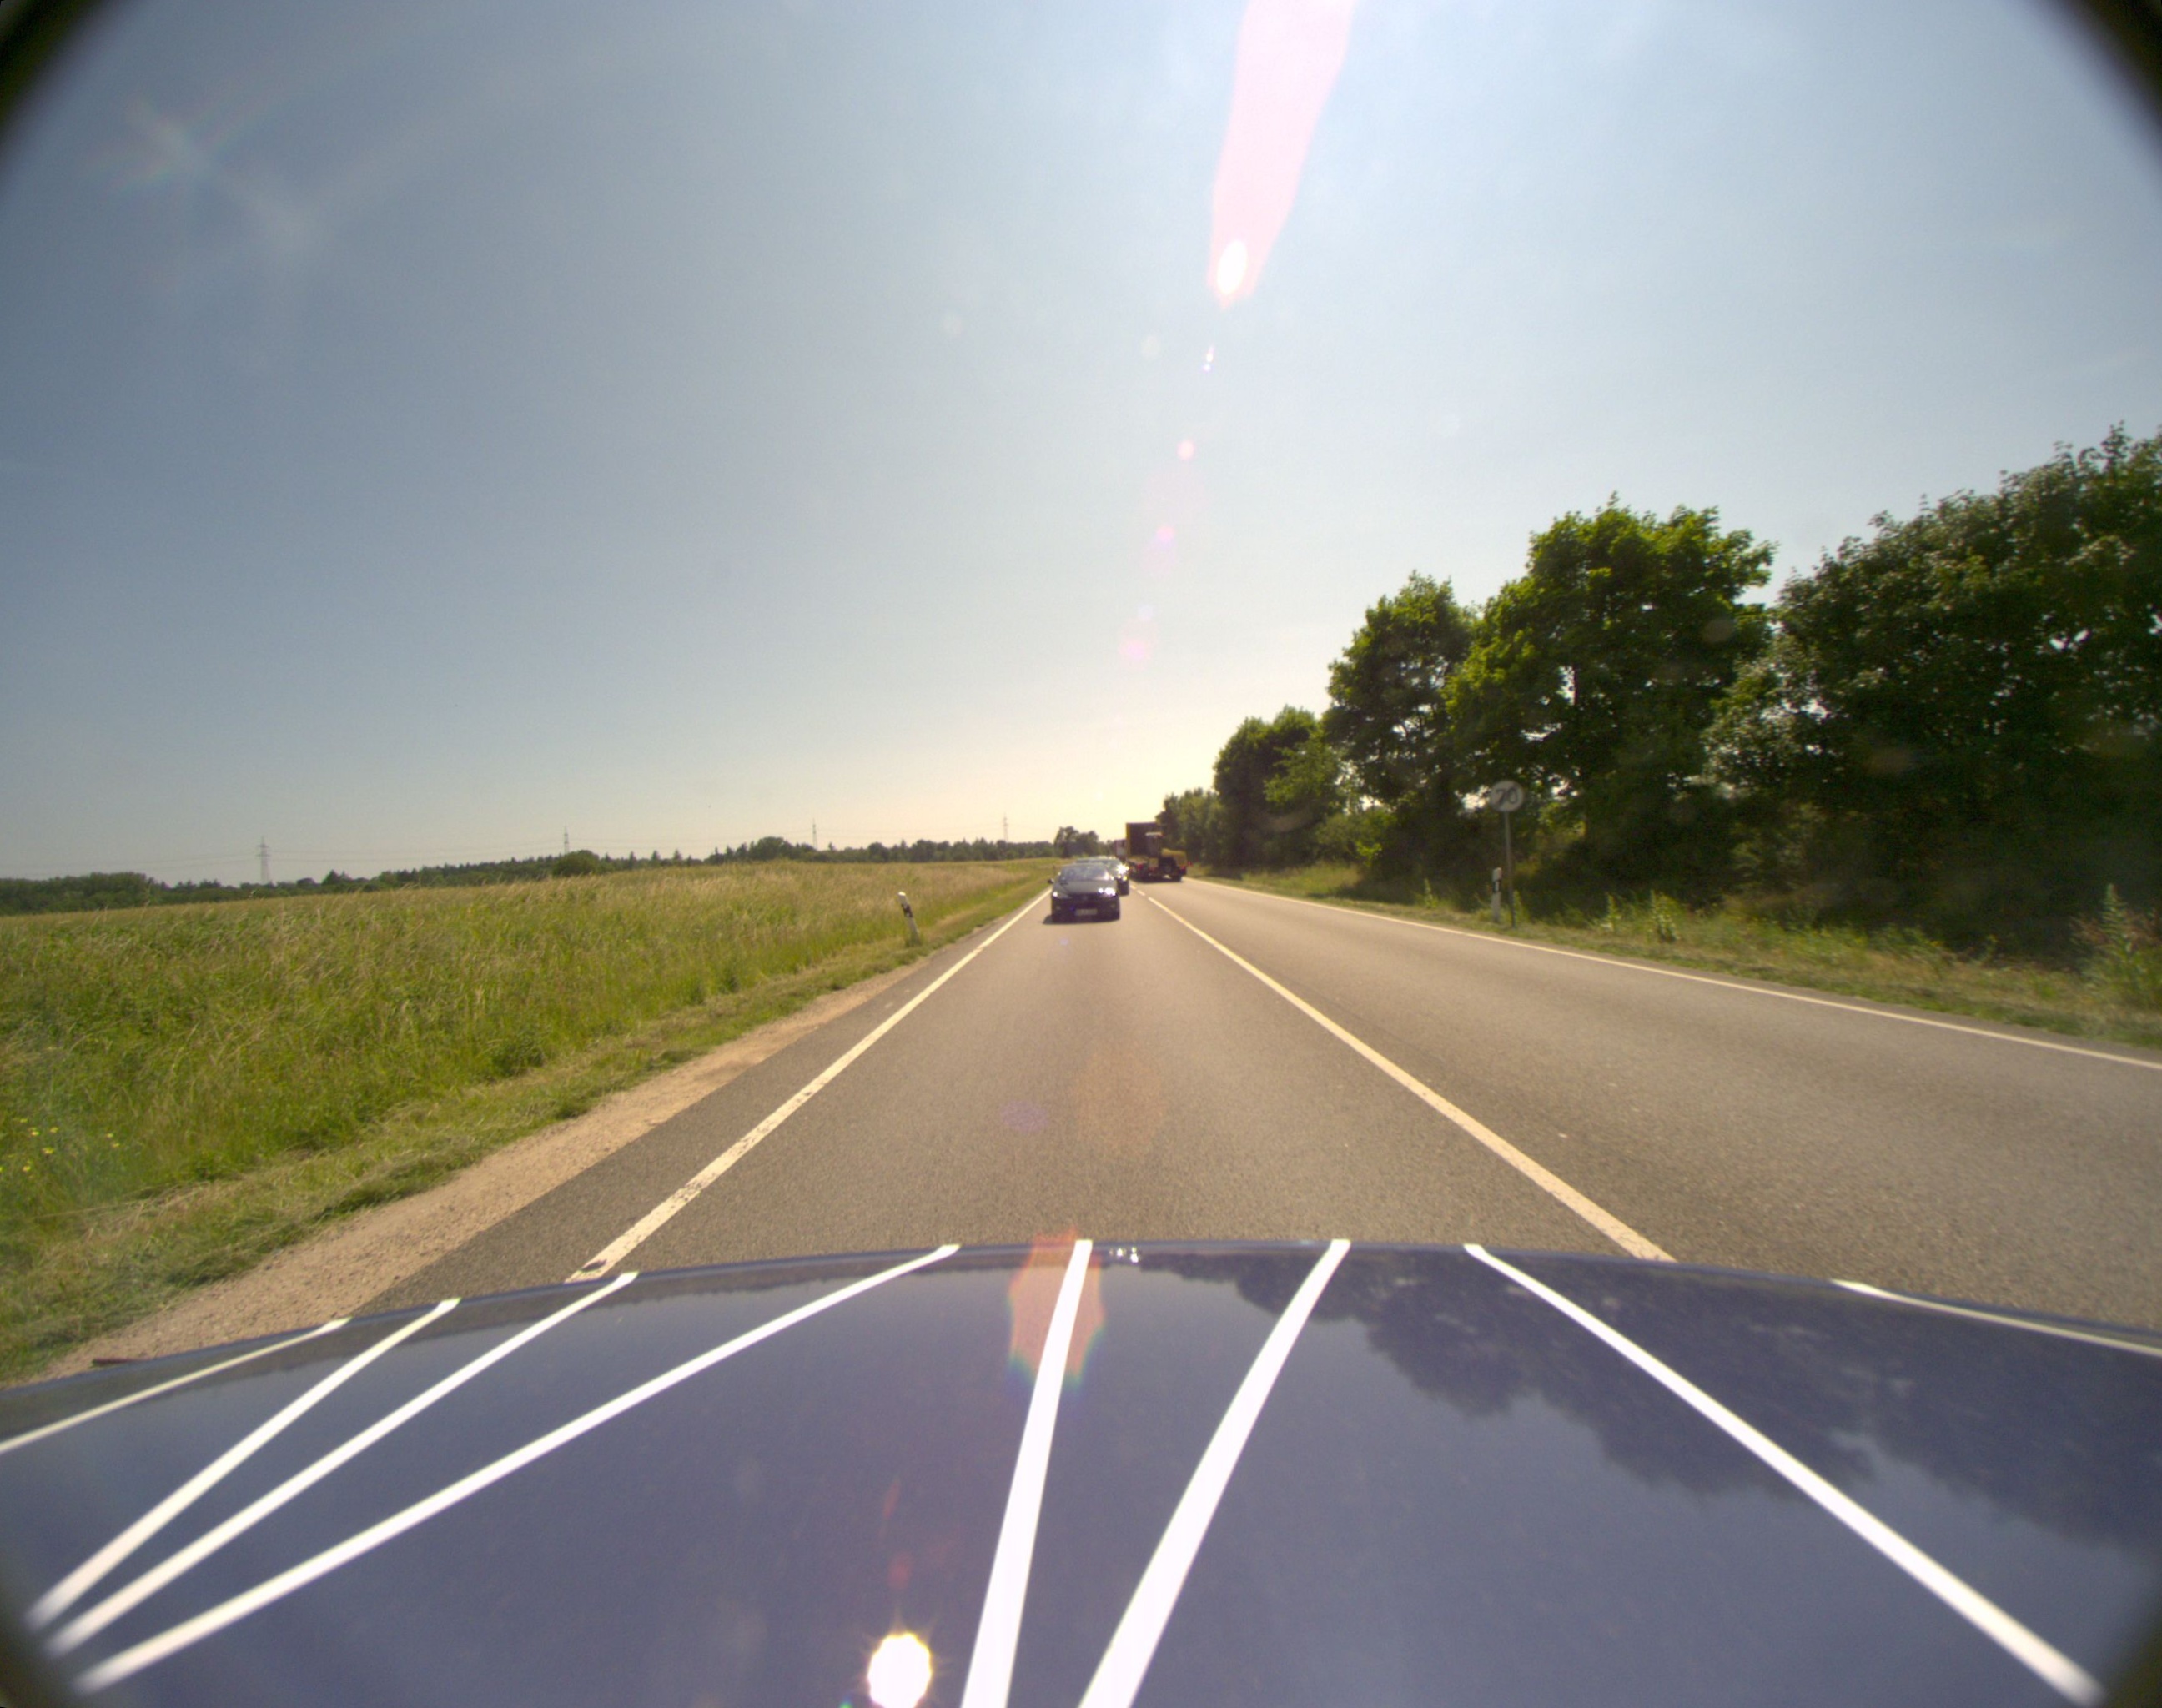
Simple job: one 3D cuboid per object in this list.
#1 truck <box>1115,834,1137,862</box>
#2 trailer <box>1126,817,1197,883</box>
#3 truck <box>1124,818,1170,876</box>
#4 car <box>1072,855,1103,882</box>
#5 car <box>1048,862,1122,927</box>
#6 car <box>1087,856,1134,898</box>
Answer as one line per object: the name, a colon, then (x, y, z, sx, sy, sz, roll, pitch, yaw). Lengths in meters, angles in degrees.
truck: (6.315, -0.824, 107.635, 2.769, 3.711, 10.548, -2, 0, 3)
trailer: (4.751, -0.212, 48.198, 2.669, 3.440, 14.948, -2, 0, 0)
truck: (4.701, -0.459, 55.204, 2.709, 3.908, 5.952, -2, 0, -1)
car: (0.459, 0.850, 46.899, 1.665, 1.449, 4.174, -2, 0, 3)
car: (0.135, 0.965, 19.495, 1.665, 1.389, 3.731, -2, 0, 1)
car: (1.182, 0.867, 30.191, 1.665, 1.477, 3.732, -2, 0, 2)
